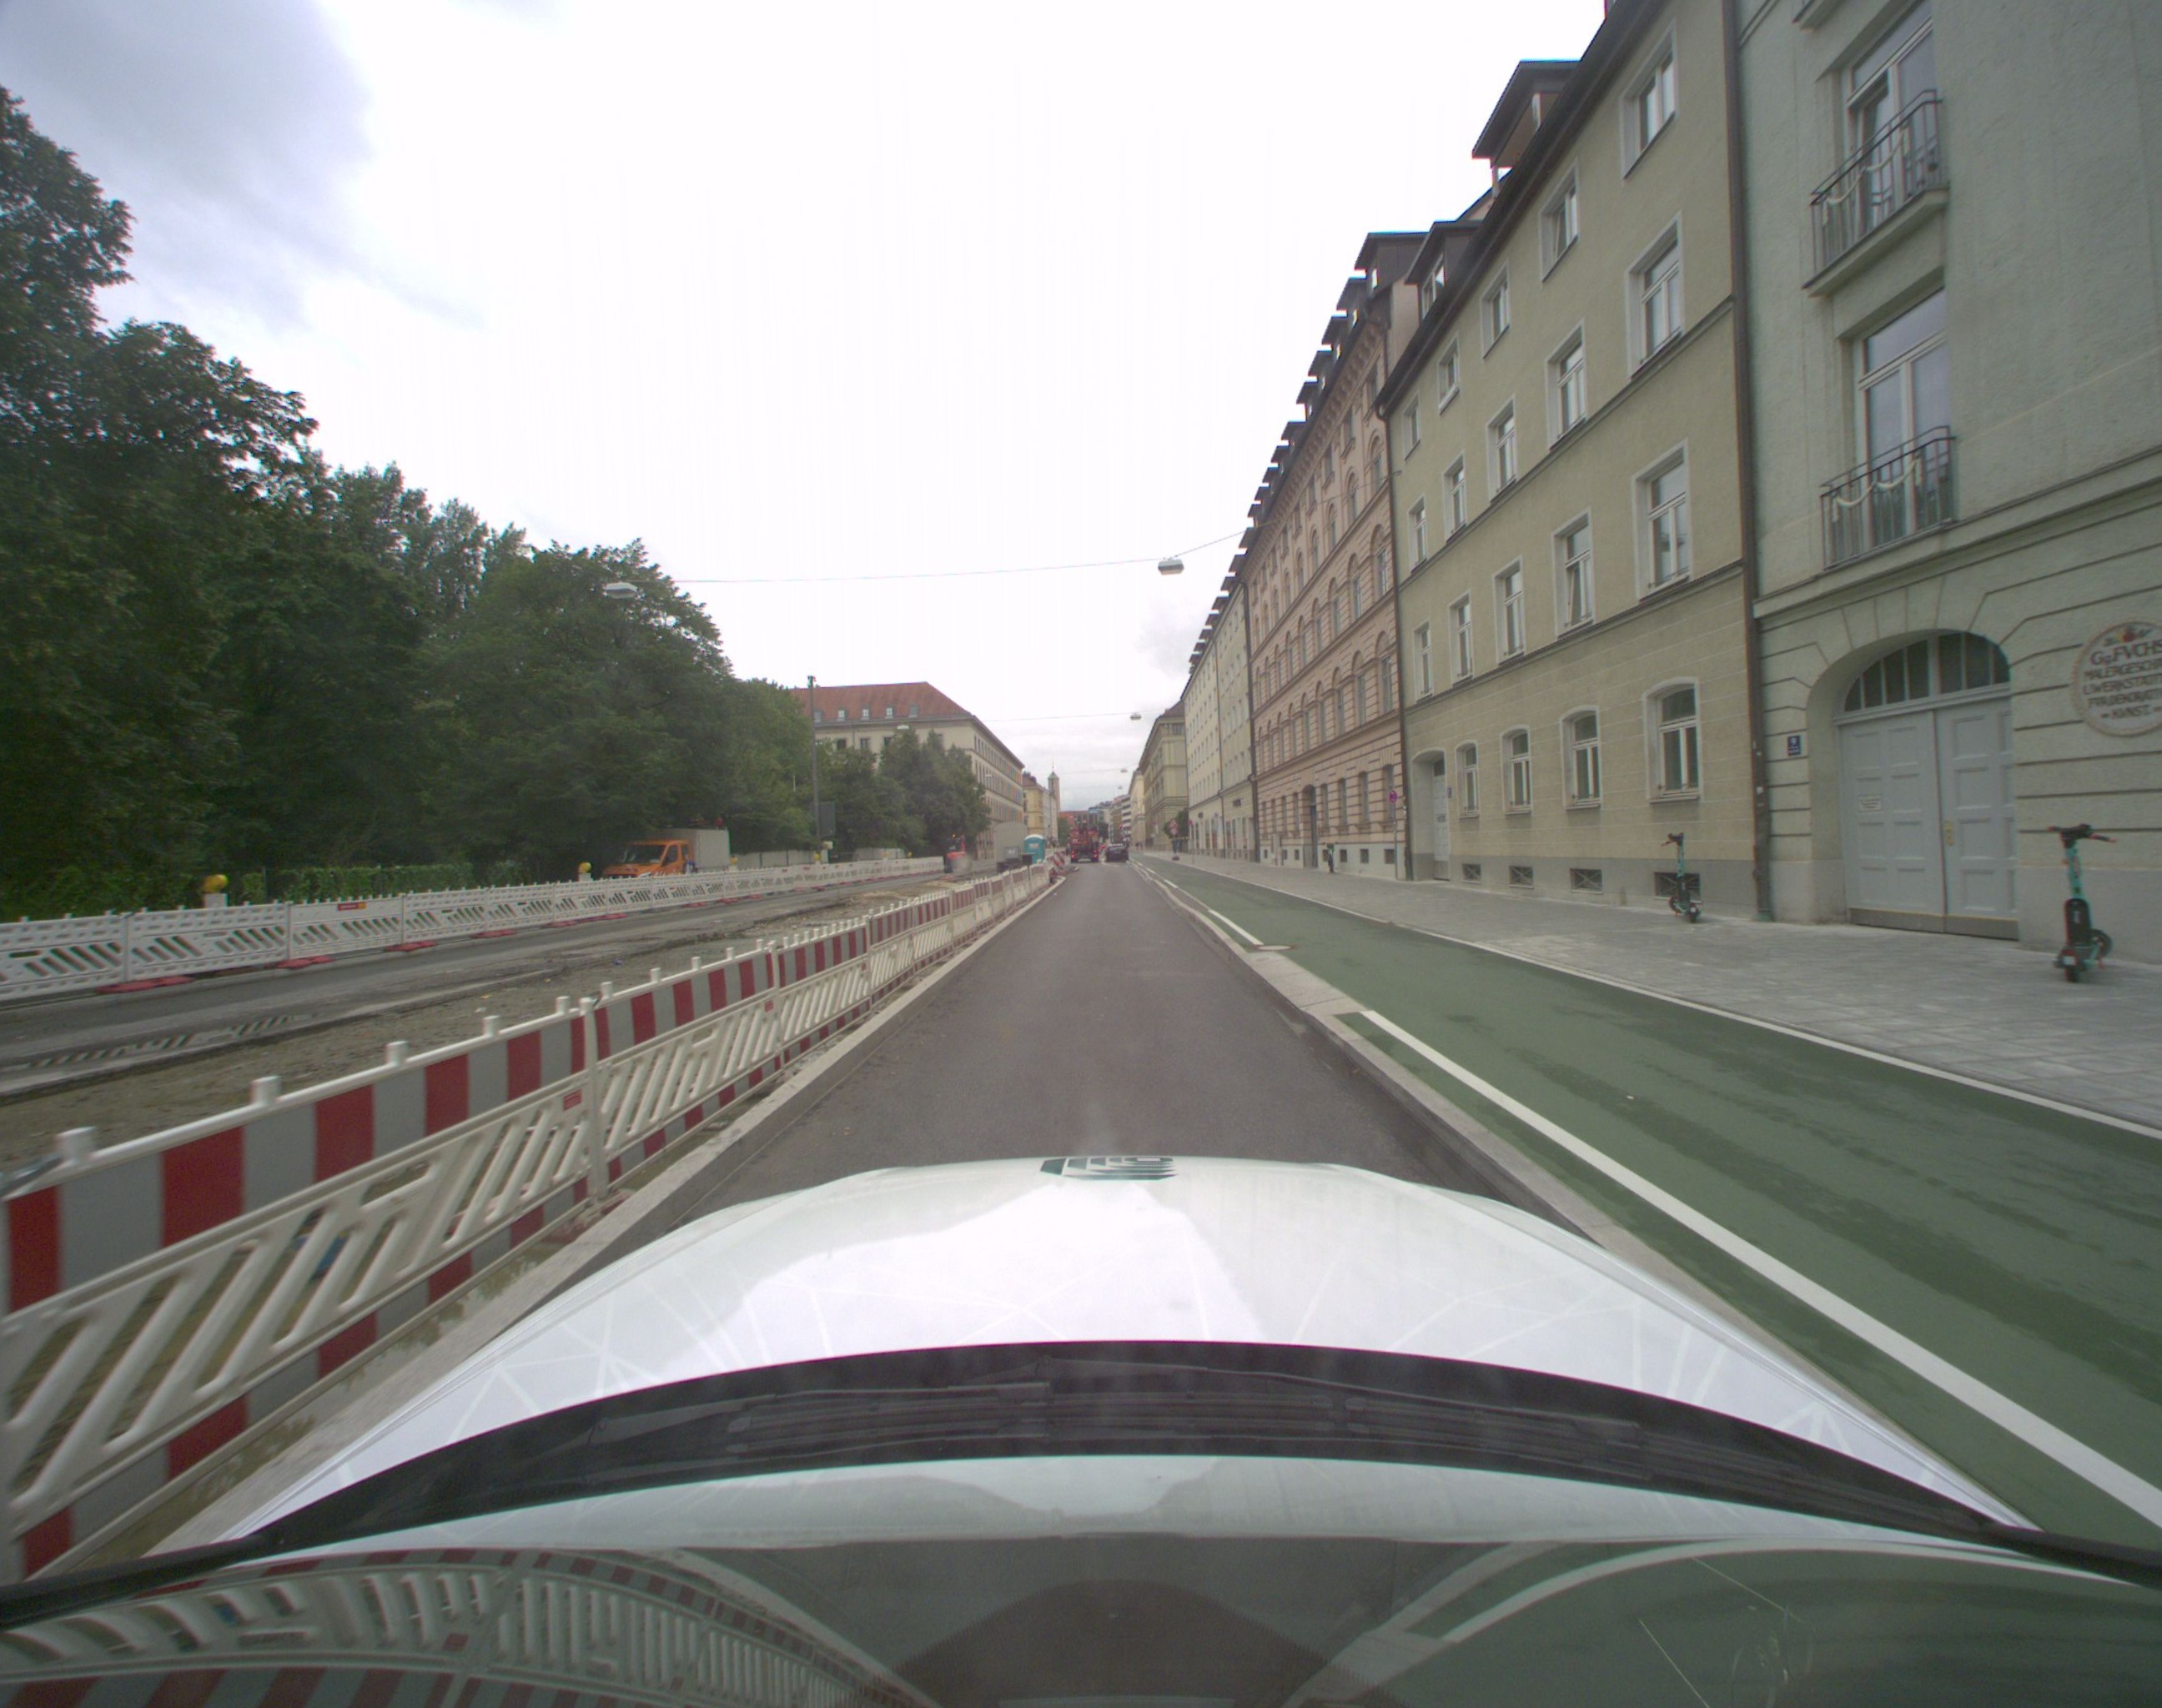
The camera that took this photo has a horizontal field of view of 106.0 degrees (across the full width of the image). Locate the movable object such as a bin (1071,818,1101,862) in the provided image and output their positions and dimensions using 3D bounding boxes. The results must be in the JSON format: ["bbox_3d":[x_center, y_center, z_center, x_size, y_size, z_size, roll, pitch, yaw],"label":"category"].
[{"bbox_3d":[0.464,-1.224,71.451,2.415,3.611,5.852,-2,1,1],"label":"movable object such as a bin"}]

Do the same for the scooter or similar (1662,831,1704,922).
[{"bbox_3d":[8.613,0.296,11.671,0.244,1.231,1.126,-4,0,27],"label":"scooter or similar"}]

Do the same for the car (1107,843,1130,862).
[{"bbox_3d":[3.184,-0.198,69.630,1.795,1.480,4.688,-3,1,1],"label":"car"}]

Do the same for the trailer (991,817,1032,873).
[{"bbox_3d":[-4.423,-0.575,52.787,2.222,3.243,7.511,-3,1,-3],"label":"trailer"}]

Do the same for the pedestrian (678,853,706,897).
[{"bbox_3d":[-14.606,0.784,30.578,0.660,1.602,0.698,-2,1,2],"label":"pedestrian"}]

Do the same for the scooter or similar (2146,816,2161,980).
[{"bbox_3d":[8.549,0.336,5.800,0.385,1.272,1.120,-4,0,1],"label":"scooter or similar"}]

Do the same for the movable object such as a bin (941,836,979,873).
[{"bbox_3d":[-9.070,-0.002,61.337,1.916,2.572,4.496,-2,1,3],"label":"movable object such as a bin"}]

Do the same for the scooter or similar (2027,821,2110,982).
[{"bbox_3d":[8.318,0.366,6.851,1.123,1.231,0.245,-4,0,-32],"label":"scooter or similar"}]

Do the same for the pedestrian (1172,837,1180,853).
[{"bbox_3d":[11.427,-1.070,98.028,0.787,1.836,0.778,-3,1,3],"label":"pedestrian"}]

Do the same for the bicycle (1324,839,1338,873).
[{"bbox_3d":[9.292,0.065,30.247,0.422,1.174,1.740,-3,0,19],"label":"bicycle"}]

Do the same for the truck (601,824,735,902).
[{"bbox_3d":[-16.169,0.269,32.367,1.985,2.728,5.874,-2,1,3],"label":"truck"}]
